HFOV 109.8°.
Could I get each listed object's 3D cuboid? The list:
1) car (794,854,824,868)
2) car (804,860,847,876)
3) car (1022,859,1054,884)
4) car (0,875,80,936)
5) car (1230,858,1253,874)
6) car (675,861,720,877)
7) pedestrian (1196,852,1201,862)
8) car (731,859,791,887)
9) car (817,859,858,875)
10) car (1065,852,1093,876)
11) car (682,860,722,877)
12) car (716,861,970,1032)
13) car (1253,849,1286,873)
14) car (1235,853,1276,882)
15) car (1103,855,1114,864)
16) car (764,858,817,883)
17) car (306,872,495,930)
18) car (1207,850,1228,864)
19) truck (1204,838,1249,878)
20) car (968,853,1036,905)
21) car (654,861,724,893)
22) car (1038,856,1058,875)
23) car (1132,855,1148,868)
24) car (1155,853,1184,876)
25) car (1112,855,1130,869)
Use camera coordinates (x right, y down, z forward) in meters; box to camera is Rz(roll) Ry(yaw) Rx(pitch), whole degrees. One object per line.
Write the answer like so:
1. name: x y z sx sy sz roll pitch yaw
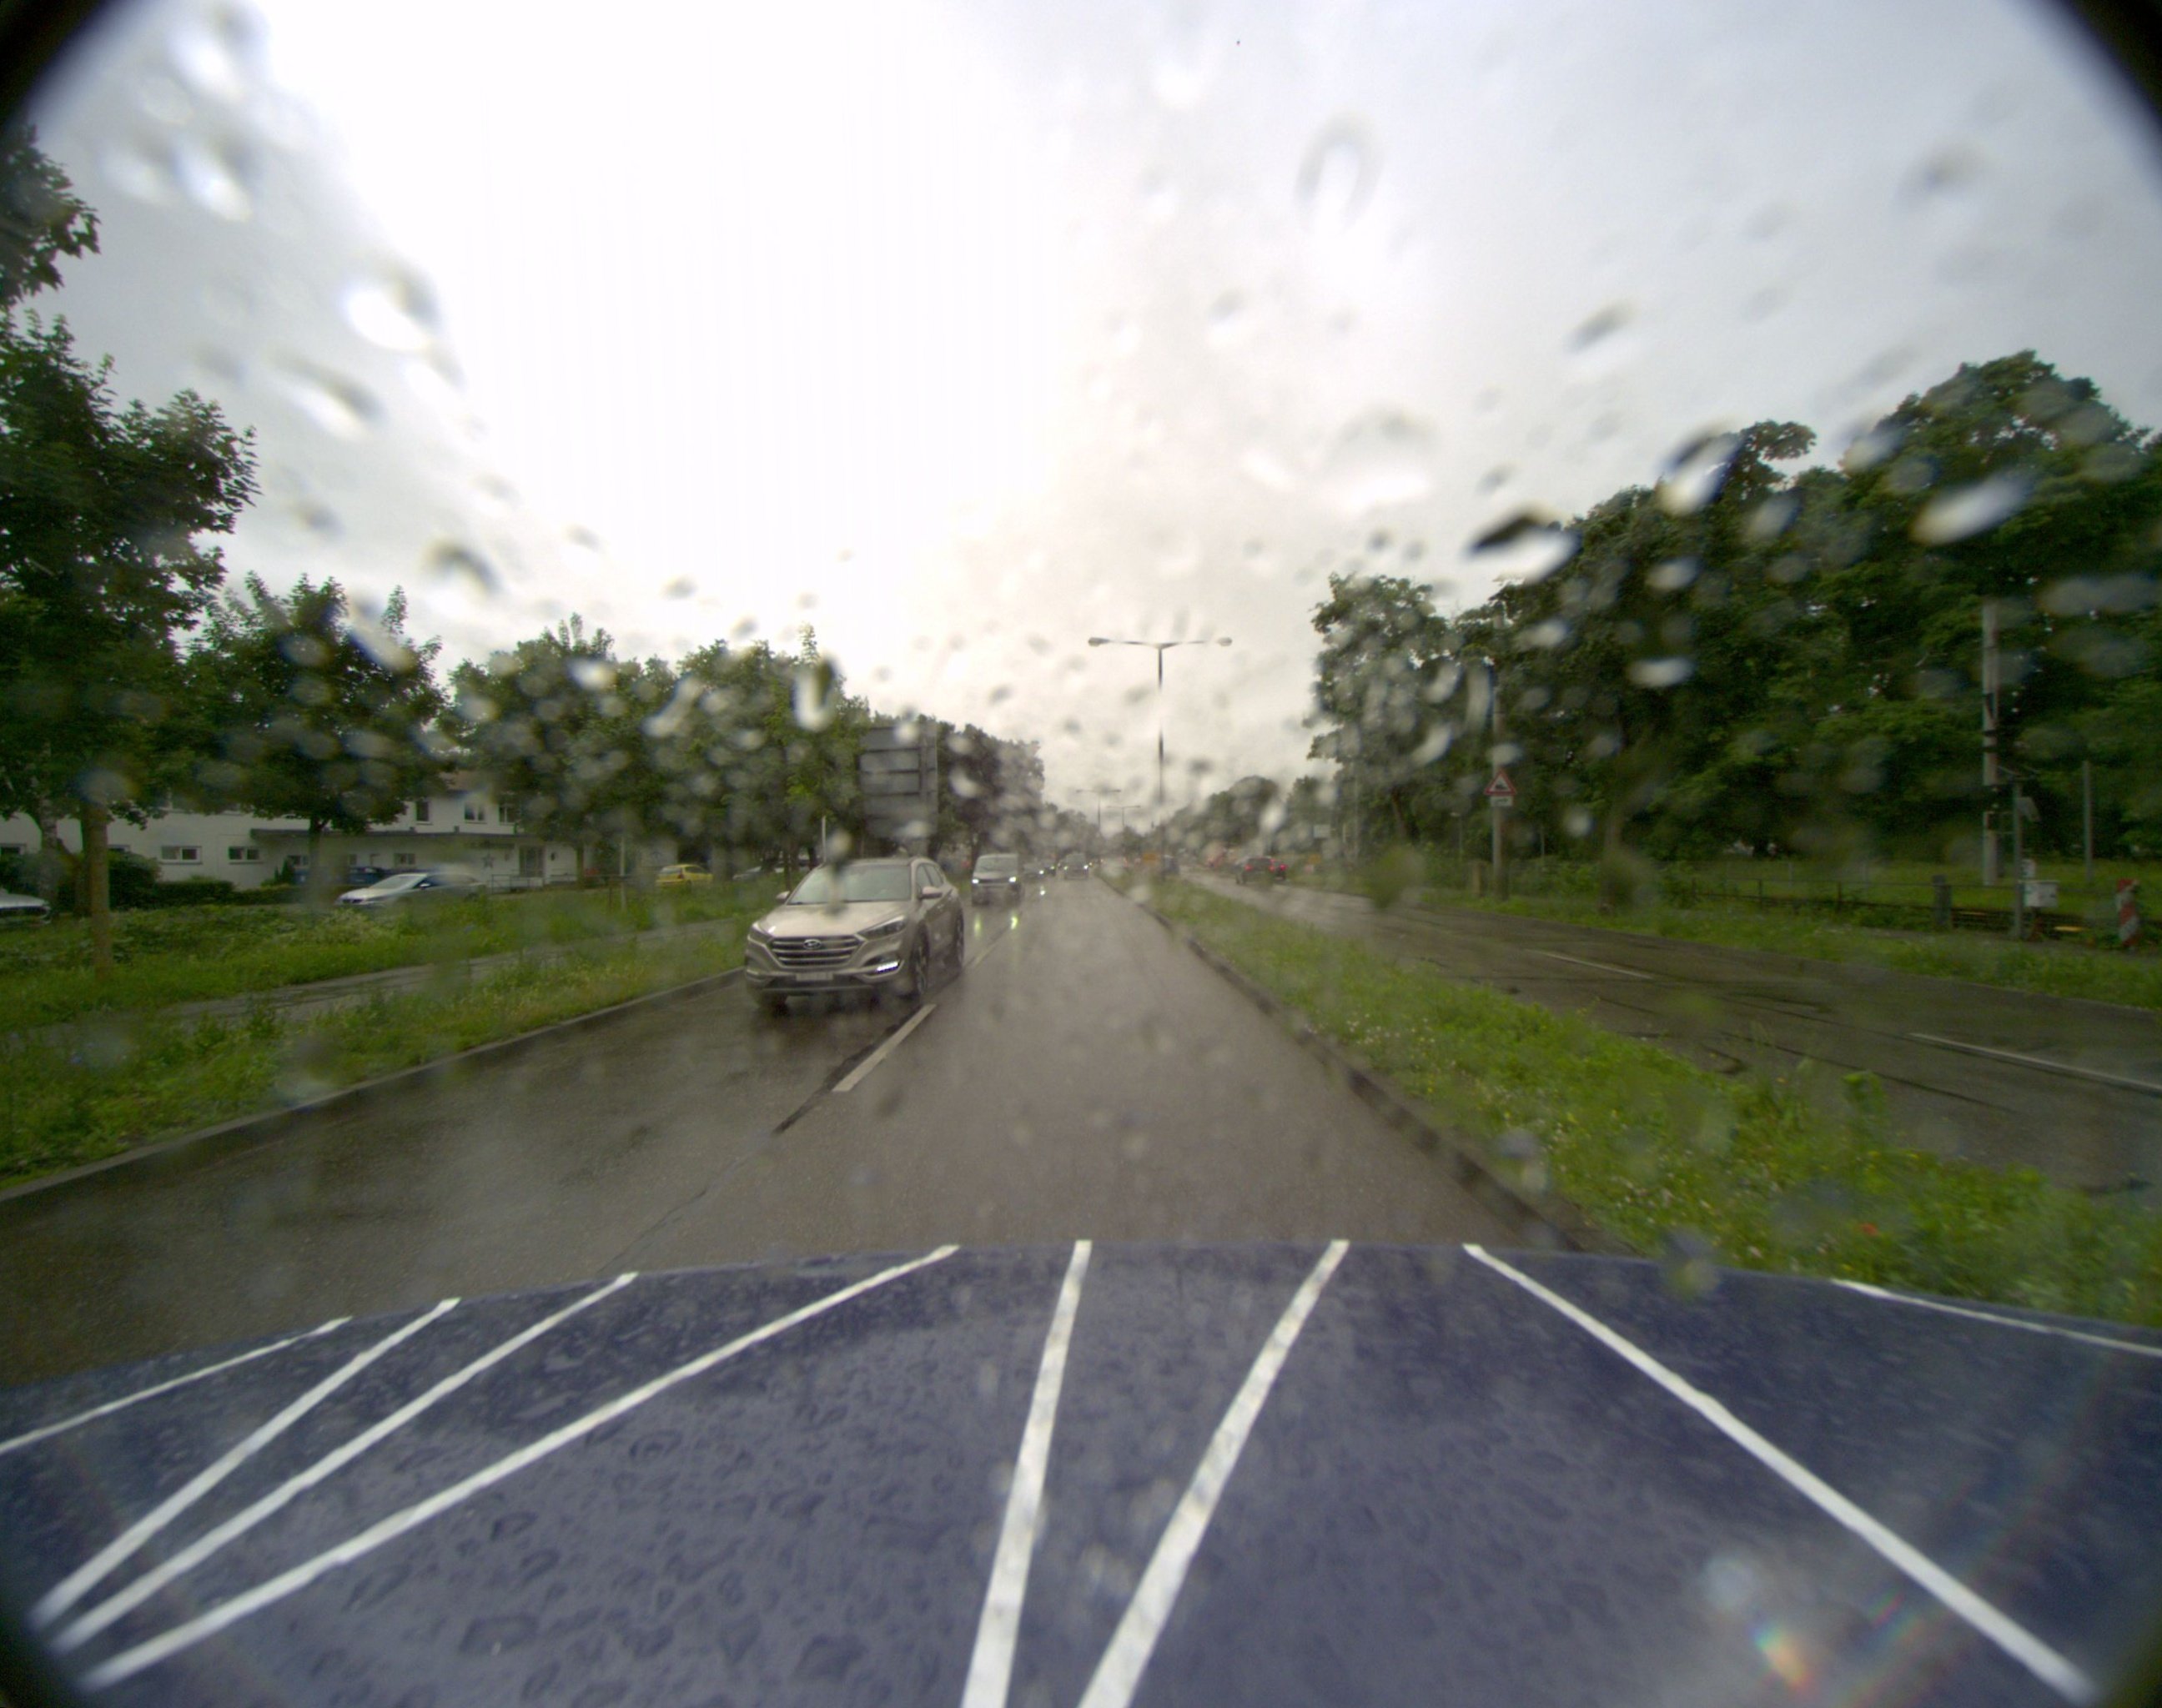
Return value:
1. car: -42.782 1.086 119.631 4.185 1.953 1.928 -3 1 23
2. car: -25.814 1.381 76.767 1.665 1.441 3.759 -2 1 41
3. car: -3.085 1.266 55.163 1.858 1.583 4.000 -3 1 2
4. car: -29.561 1.430 19.750 4.346 1.495 1.923 -3 1 -1
5. car: 15.604 1.151 73.948 1.591 1.370 3.686 1 0 2
6. car: -44.640 1.737 88.484 4.293 1.601 1.900 -3 1 3
7. pedestrian: 20.581 0.468 133.140 0.782 1.648 0.804 -3 1 -2
8. car: -20.865 1.207 49.761 1.998 1.707 4.641 0 1 0
9. car: -23.825 1.303 74.408 3.395 1.344 1.521 -3 1 -44
10. car: -0.127 0.718 58.341 1.812 1.683 3.777 -3 1 3
11. car: -33.385 1.259 67.024 1.576 1.308 3.701 -3 1 -1
12. car: -2.691 0.951 9.725 1.889 1.601 4.195 -1 1 0
13. car: 15.484 0.559 62.621 1.997 1.817 4.774 -3 1 7
14. car: 10.282 0.763 45.047 1.710 1.632 4.332 1 0 4
15. car: 4.906 0.978 135.100 1.740 1.535 4.014 -1 1 5
16. car: -21.004 1.150 55.193 1.998 1.707 4.878 0 1 0
17. car: -22.435 1.484 25.378 1.998 1.616 4.642 0 1 2
18. car: 17.427 0.366 97.291 1.998 1.699 4.527 -3 1 3
19. truck: 16.621 0.368 87.766 3.393 4.143 10.407 -3 1 2
20. car: -2.988 0.905 29.600 1.998 1.785 4.562 -2 0 1
21. car: -21.499 1.225 41.841 1.641 1.477 4.072 -3 1 0
22. car: -3.148 1.034 72.783 1.651 1.652 3.777 -3 1 0
23. car: 7.820 0.940 100.861 1.805 1.560 4.428 1 1 1
24. car: 6.631 0.775 57.154 1.748 1.640 4.136 1 0 1
25. car: 4.600 0.932 88.119 1.965 1.607 4.698 -1 0 2
